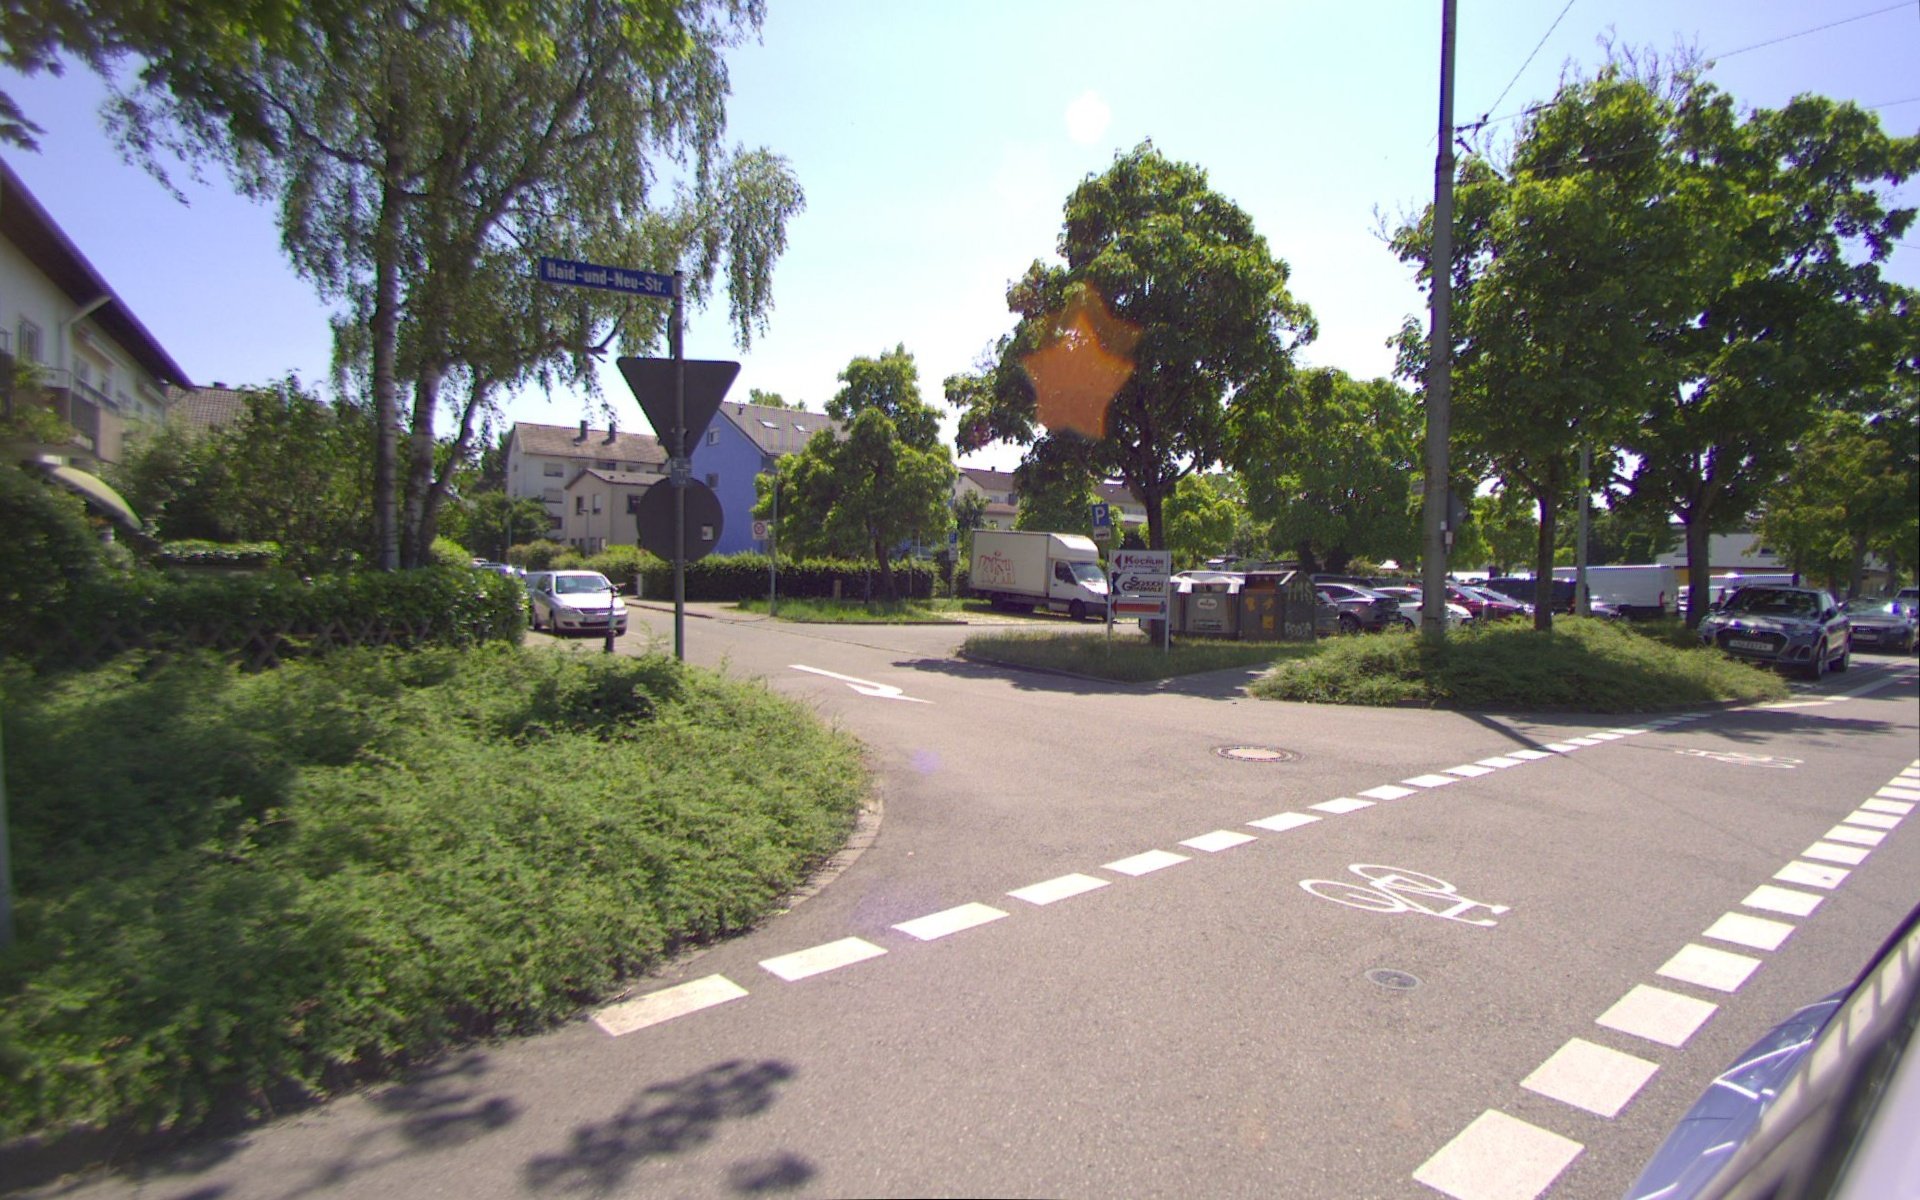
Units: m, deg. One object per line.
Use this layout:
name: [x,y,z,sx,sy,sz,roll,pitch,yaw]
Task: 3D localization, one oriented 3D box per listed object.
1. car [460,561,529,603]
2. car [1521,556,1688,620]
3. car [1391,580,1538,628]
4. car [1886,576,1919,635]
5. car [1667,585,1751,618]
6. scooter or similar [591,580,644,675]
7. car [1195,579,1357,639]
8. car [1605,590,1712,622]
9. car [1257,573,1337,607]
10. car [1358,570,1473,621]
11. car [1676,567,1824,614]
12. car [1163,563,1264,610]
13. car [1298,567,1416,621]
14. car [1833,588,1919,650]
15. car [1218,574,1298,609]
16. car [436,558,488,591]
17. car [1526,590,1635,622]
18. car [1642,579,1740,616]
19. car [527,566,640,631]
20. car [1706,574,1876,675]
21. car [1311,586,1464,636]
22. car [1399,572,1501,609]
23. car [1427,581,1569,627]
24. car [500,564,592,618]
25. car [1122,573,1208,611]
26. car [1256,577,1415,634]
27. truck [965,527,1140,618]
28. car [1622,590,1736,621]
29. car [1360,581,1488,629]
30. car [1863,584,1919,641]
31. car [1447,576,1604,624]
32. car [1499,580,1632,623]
car: [-16.313,-0.661,35.411,1.687,1.362,3.797,1,1,-32]
car: [26.671,-0.493,42.084,2.057,2.490,5.502,0,0,-39]
car: [16.656,0.119,33.526,1.739,1.509,4.027,0,0,-41]
car: [33.442,0.243,34.407,5.180,1.900,2.004,1,4,-39]
car: [40.675,0.078,54.992,1.697,1.739,3.378,0,0,-40]
scooter or similar: [-4.945,0.369,14.568,0.589,1.287,1.191,1,1,-24]
car: [8.477,0.223,27.394,1.740,1.508,3.865,0,0,-42]
car: [32.702,0.251,47.439,1.698,1.424,3.891,0,0,-42]
car: [16.647,-0.516,50.107,1.651,1.445,3.345,1,4,-38]
car: [25.850,-0.289,57.604,2.057,2.489,5.506,1,4,-39]
car: [45.045,-0.540,57.863,2.221,2.561,6.358,0,0,-37]
car: [11.243,-0.609,45.081,1.724,1.829,4.006,0,4,-43]
car: [21.130,-0.351,54.117,2.057,2.489,5.506,1,4,-39]
car: [25.289,0.467,27.537,4.628,1.435,1.716,0,4,-43]
car: [14.437,-0.430,49.131,1.651,1.445,3.345,1,4,-38]
car: [-22.256,-1.166,45.147,1.687,1.362,3.797,1,1,-32]
car: [24.663,0.218,40.292,1.652,1.204,3.342,0,0,-39]
car: [37.000,-0.120,51.272,1.922,1.807,3.781,0,0,-44]
car: [-8.839,-0.066,23.575,1.687,1.362,3.797,1,1,-32]
car: [16.323,0.394,19.789,4.626,1.652,1.716,-1,5,-41]
car: [12.722,0.300,30.266,1.738,1.375,3.868,0,0,-39]
car: [29.451,-0.606,60.993,2.057,1.899,5.111,0,4,-39]
car: [18.574,0.110,35.062,1.739,1.509,4.027,0,0,-41]
car: [-11.410,-0.281,27.756,1.687,1.362,3.797,1,1,-32]
car: [8.938,-0.379,44.280,1.651,1.445,3.345,1,4,-38]
car: [10.528,0.138,28.543,1.740,1.508,3.865,0,0,-42]
truck: [3.402,-1.163,39.075,2.382,3.122,6.963,0,4,-41]
car: [34.808,0.241,49.087,1.698,1.424,4.282,0,0,-42]
car: [14.694,0.151,32.146,1.652,1.446,3.342,0,0,-39]
car: [29.120,0.385,30.819,3.770,1.559,1.717,1,4,-39]
car: [20.697,-0.003,37.224,1.919,1.665,4.703,0,0,-39]
car: [22.924,0.044,38.445,1.739,1.509,4.027,0,0,-41]
